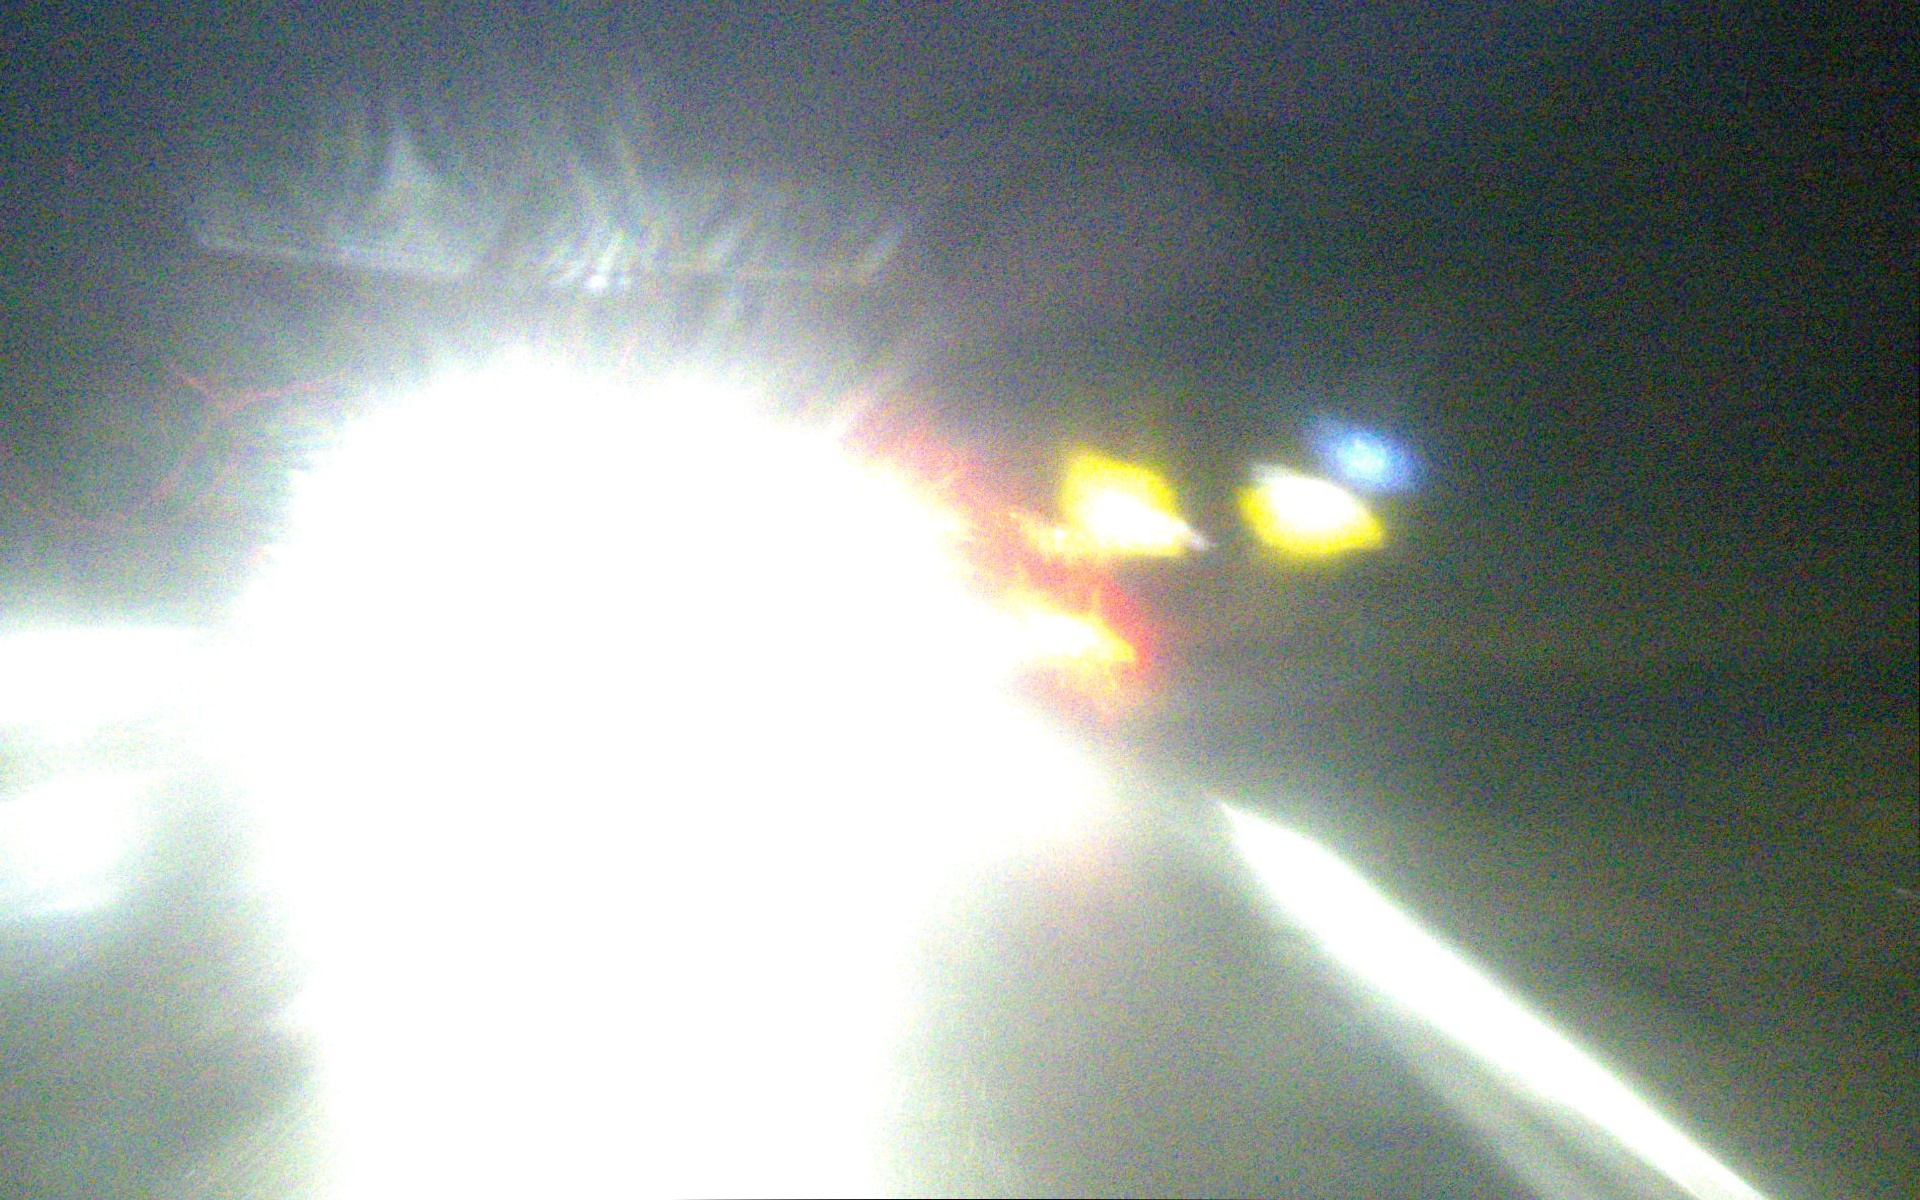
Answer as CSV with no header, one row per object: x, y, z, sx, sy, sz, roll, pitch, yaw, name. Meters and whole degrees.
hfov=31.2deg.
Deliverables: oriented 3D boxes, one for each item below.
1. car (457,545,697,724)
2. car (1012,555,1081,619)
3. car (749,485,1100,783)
-3.723,0.308,34.074,1.889,1.632,4.156,-1,0,0,car
2.679,-0.414,107.440,1.993,1.908,4.000,2,0,0,car
-0.228,0.183,29.649,2.715,2.299,6.101,0,2,1,car
